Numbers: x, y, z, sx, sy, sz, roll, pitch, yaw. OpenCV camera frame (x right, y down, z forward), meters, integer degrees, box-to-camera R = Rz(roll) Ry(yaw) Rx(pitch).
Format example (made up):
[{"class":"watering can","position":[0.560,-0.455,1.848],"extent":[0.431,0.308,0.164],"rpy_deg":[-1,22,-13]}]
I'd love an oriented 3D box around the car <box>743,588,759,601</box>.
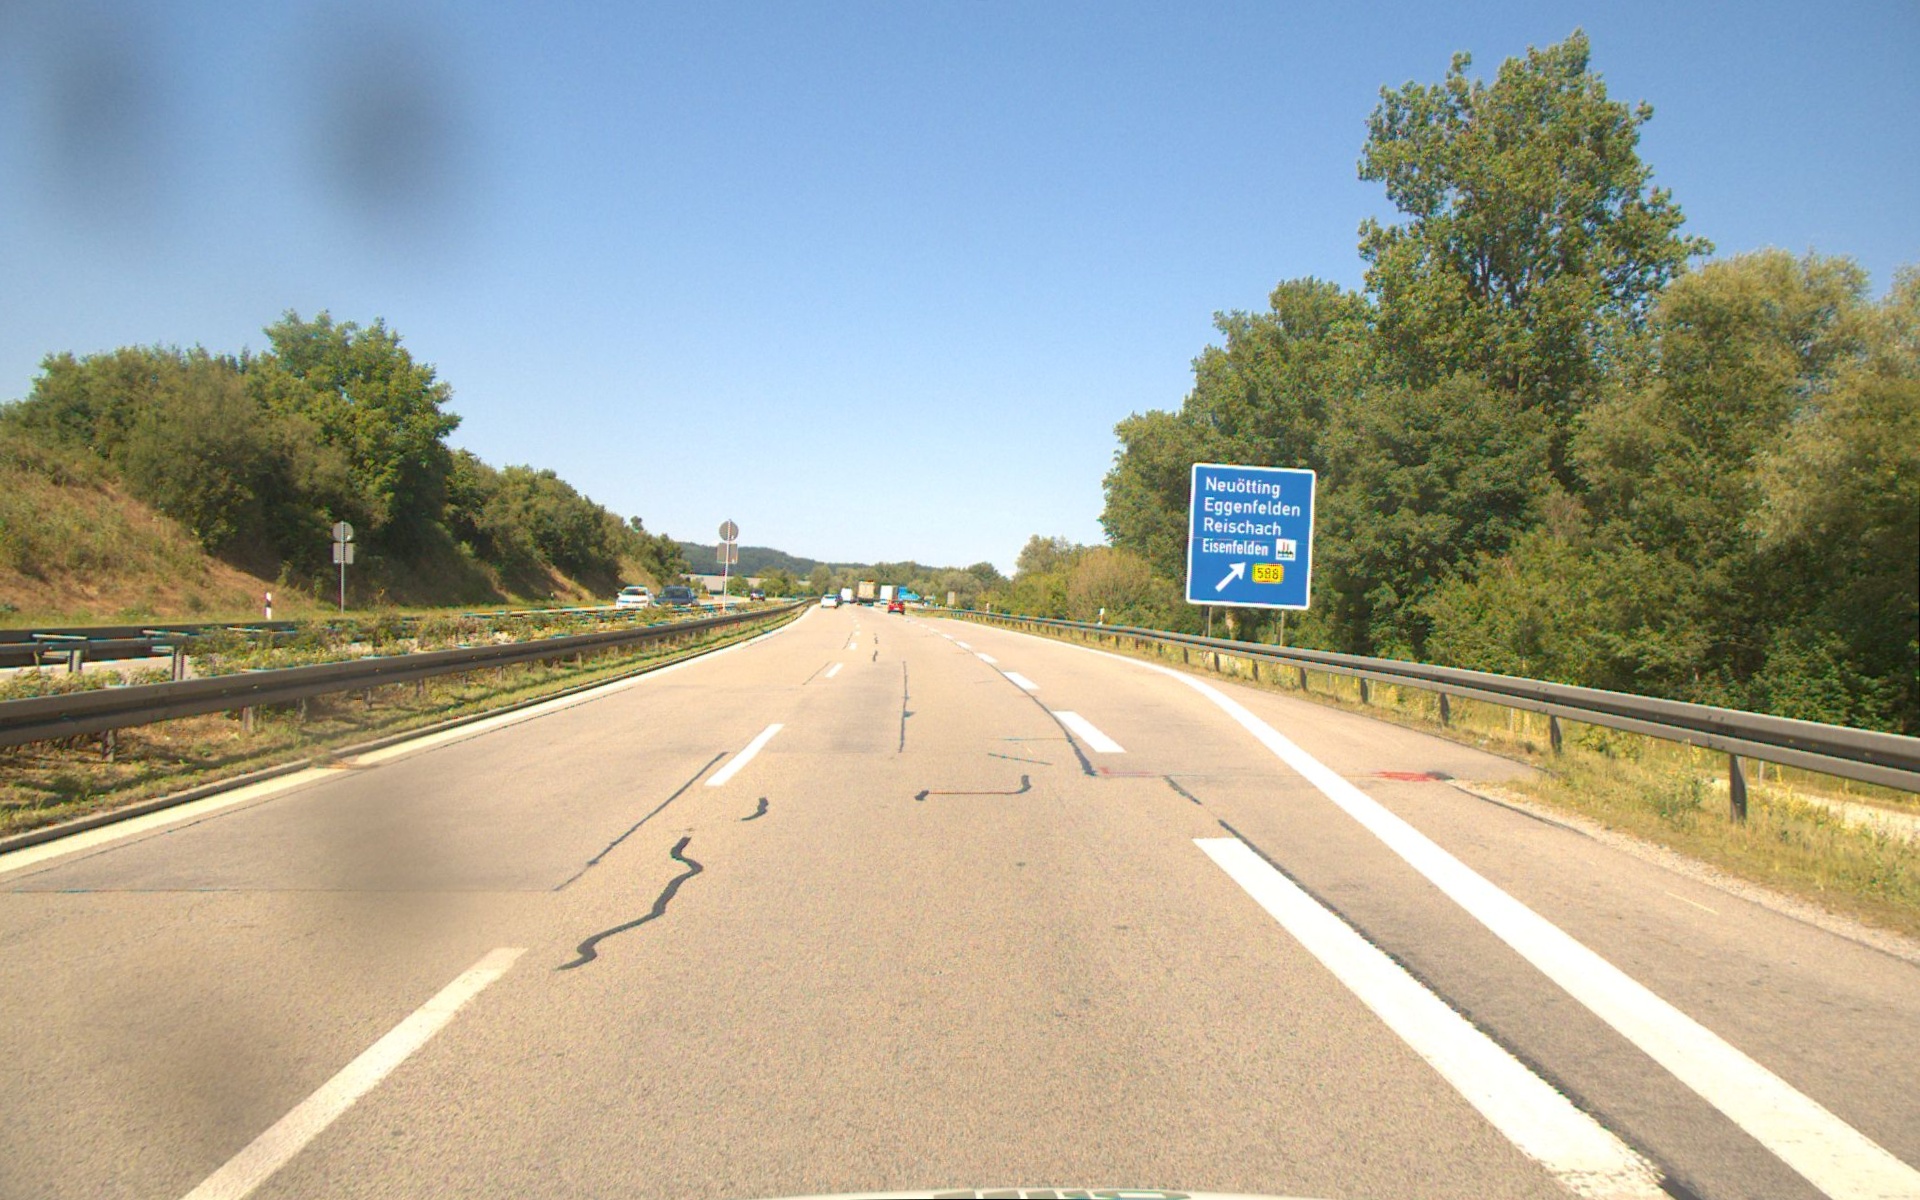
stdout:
[{"class":"car","position":[-29.083,-0.757,230.218],"extent":[1.954,1.673,5.078],"rpy_deg":[2,-1,-4]}]

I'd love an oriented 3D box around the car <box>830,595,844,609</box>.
[{"class":"car","position":[-17.424,0.258,234.516],"extent":[1.955,1.780,3.996],"rpy_deg":[3,0,-5]}]

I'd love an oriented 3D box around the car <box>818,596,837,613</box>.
[{"class":"car","position":[-14.516,0.456,181.535],"extent":[2.021,1.653,3.995],"rpy_deg":[2,-2,-4]}]

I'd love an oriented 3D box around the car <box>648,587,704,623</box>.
[{"class":"car","position":[-12.922,0.218,75.377],"extent":[1.954,1.572,4.673],"rpy_deg":[1,0,-3]}]

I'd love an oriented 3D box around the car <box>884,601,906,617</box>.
[{"class":"car","position":[-6.907,0.992,175.740],"extent":[1.747,1.456,4.001],"rpy_deg":[6,-1,4]}]

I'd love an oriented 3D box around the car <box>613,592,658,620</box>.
[{"class":"car","position":[-17.719,0.312,90.505],"extent":[1.803,1.464,4.409],"rpy_deg":[2,0,-4]}]
